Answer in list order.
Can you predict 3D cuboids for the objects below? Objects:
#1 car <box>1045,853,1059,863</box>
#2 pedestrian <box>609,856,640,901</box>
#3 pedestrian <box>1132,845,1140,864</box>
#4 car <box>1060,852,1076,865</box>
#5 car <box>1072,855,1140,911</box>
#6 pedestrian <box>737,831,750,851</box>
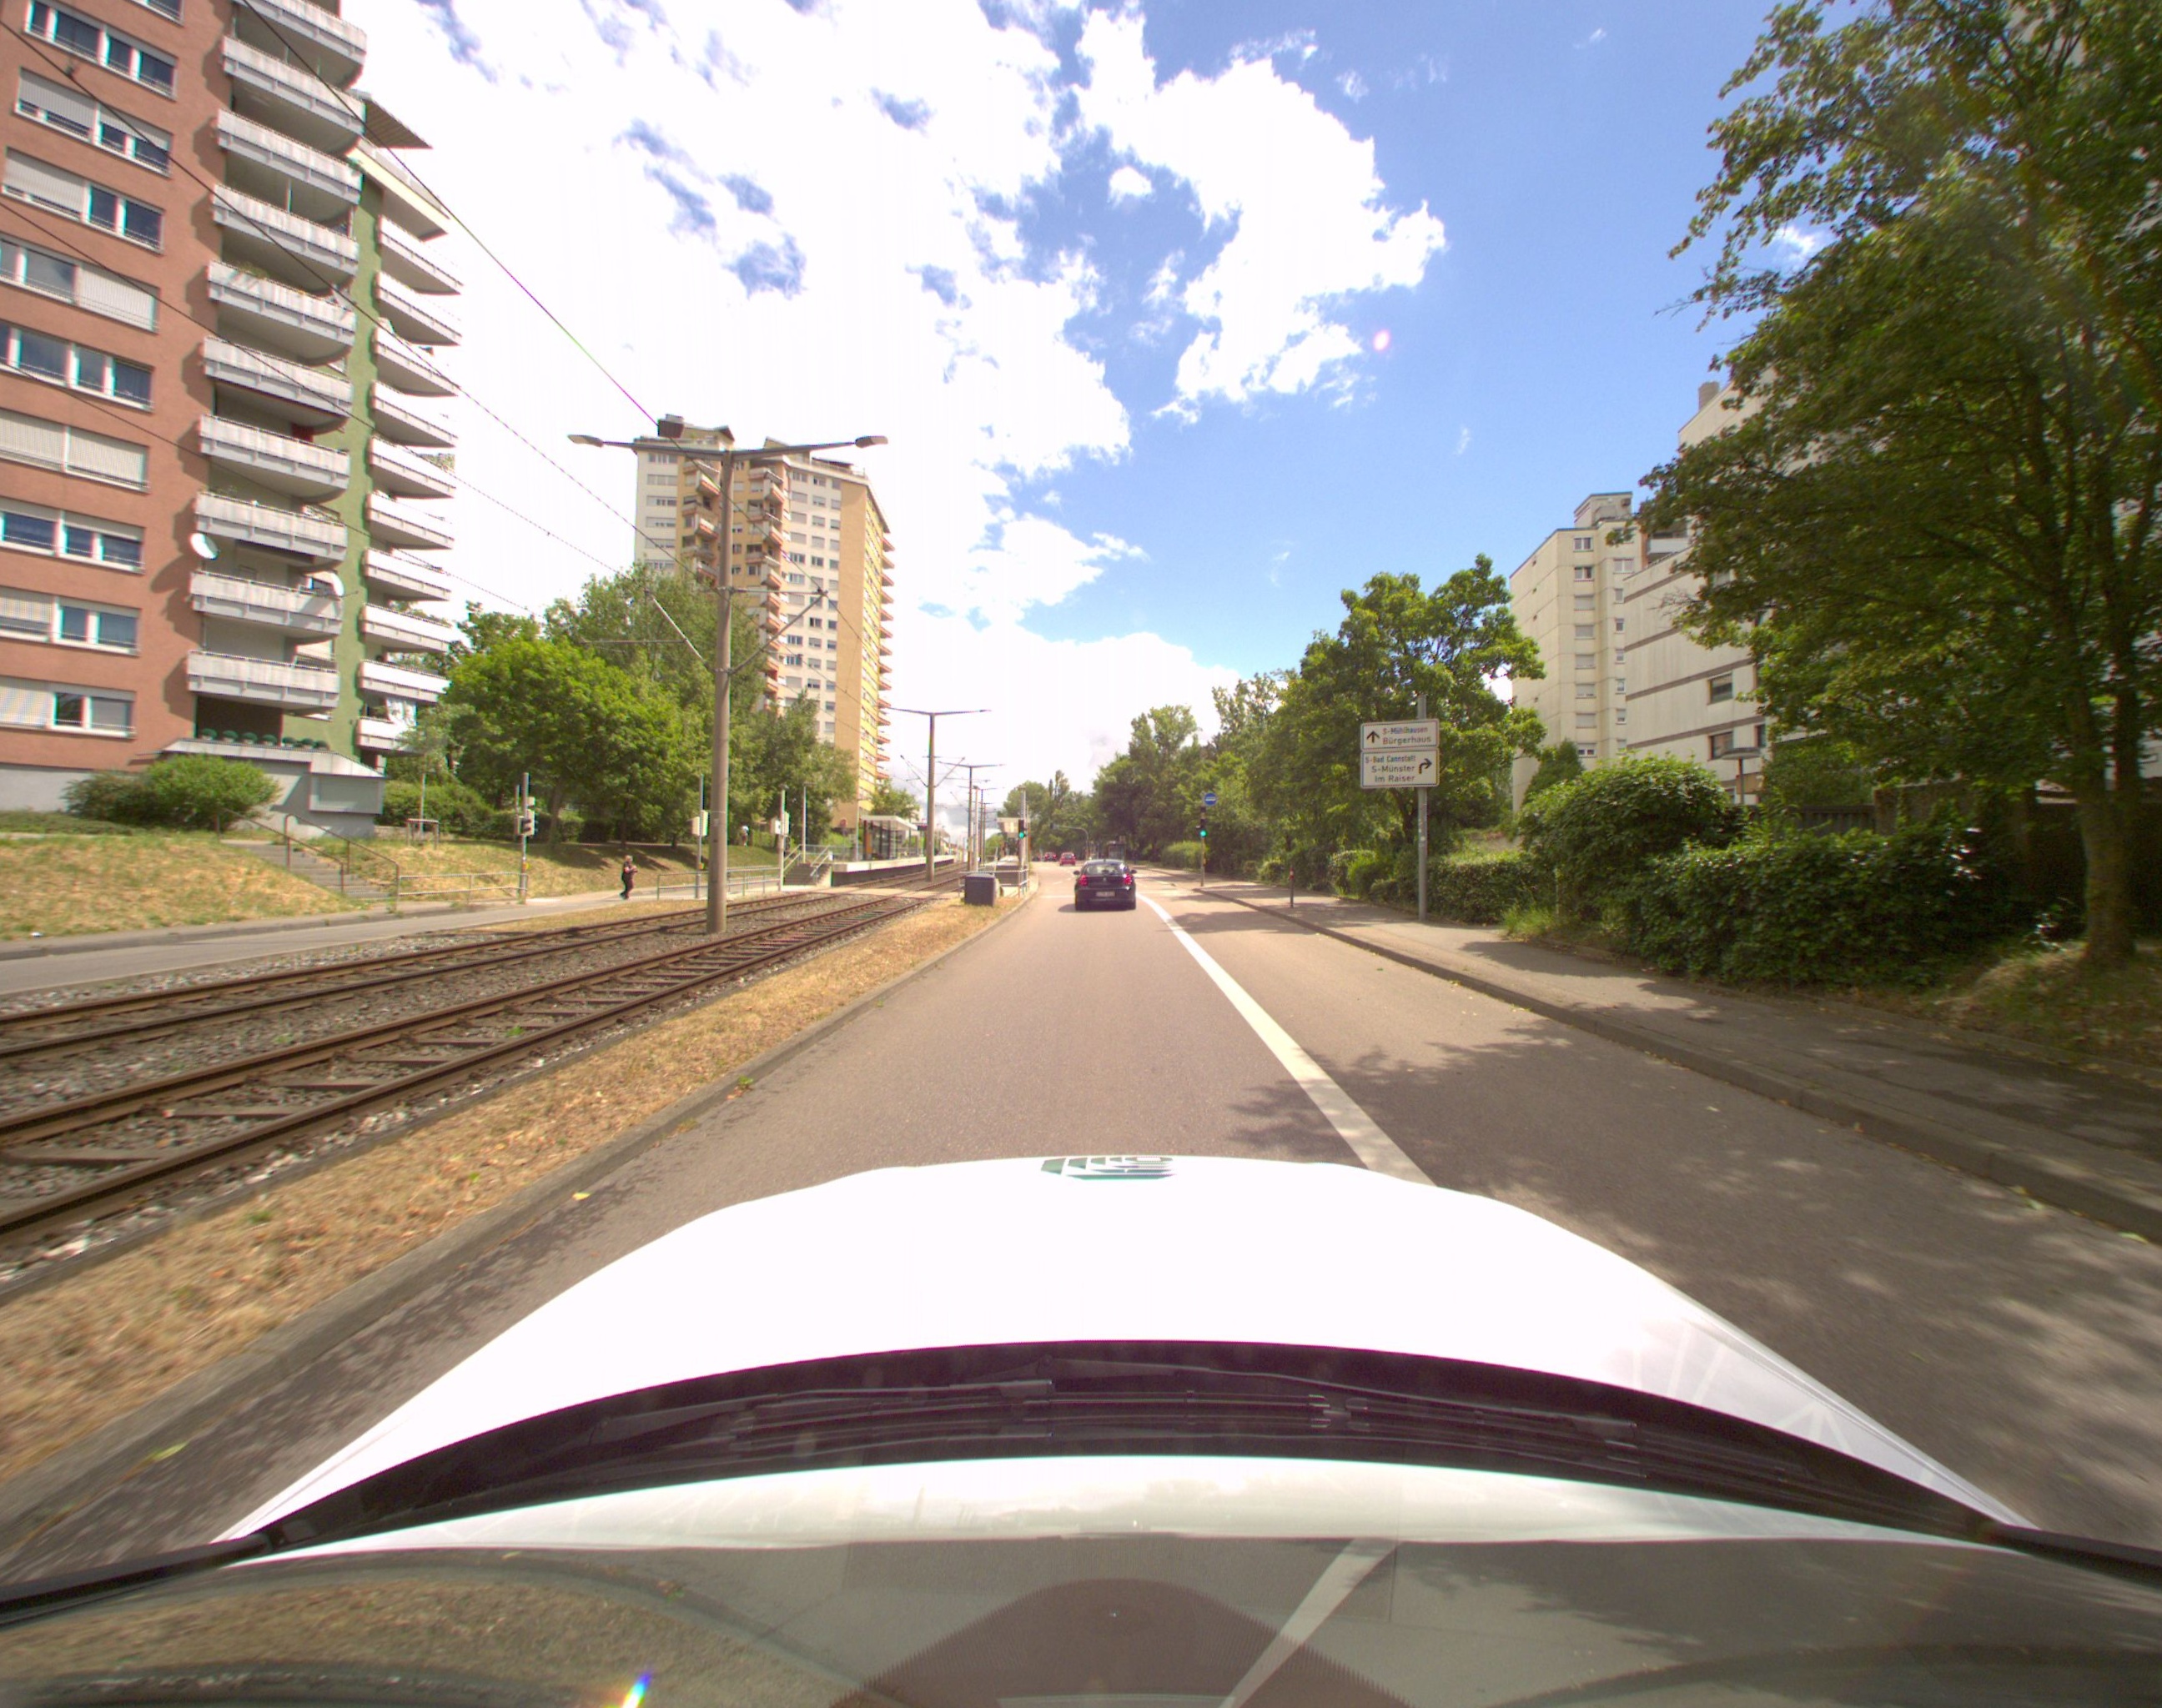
[{"bbox_3d":[-4.489,0.629,126.009,1.906,1.459,3.995,0,0,-5],"label":"car"},{"bbox_3d":[-15.815,0.829,28.236,0.775,1.534,0.708,-1,0,-44],"label":"pedestrian"},{"bbox_3d":[5.887,0.076,87.130,0.737,2.013,0.682,0,0,1],"label":"pedestrian"},{"bbox_3d":[-1.505,0.529,93.483,1.777,1.459,3.917,0,0,-3],"label":"car"},{"bbox_3d":[0.655,0.781,23.943,1.776,1.459,3.919,-1,0,-1],"label":"car"},{"bbox_3d":[-25.898,-1.000,62.564,0.629,1.534,0.637,-1,0,18],"label":"pedestrian"}]
